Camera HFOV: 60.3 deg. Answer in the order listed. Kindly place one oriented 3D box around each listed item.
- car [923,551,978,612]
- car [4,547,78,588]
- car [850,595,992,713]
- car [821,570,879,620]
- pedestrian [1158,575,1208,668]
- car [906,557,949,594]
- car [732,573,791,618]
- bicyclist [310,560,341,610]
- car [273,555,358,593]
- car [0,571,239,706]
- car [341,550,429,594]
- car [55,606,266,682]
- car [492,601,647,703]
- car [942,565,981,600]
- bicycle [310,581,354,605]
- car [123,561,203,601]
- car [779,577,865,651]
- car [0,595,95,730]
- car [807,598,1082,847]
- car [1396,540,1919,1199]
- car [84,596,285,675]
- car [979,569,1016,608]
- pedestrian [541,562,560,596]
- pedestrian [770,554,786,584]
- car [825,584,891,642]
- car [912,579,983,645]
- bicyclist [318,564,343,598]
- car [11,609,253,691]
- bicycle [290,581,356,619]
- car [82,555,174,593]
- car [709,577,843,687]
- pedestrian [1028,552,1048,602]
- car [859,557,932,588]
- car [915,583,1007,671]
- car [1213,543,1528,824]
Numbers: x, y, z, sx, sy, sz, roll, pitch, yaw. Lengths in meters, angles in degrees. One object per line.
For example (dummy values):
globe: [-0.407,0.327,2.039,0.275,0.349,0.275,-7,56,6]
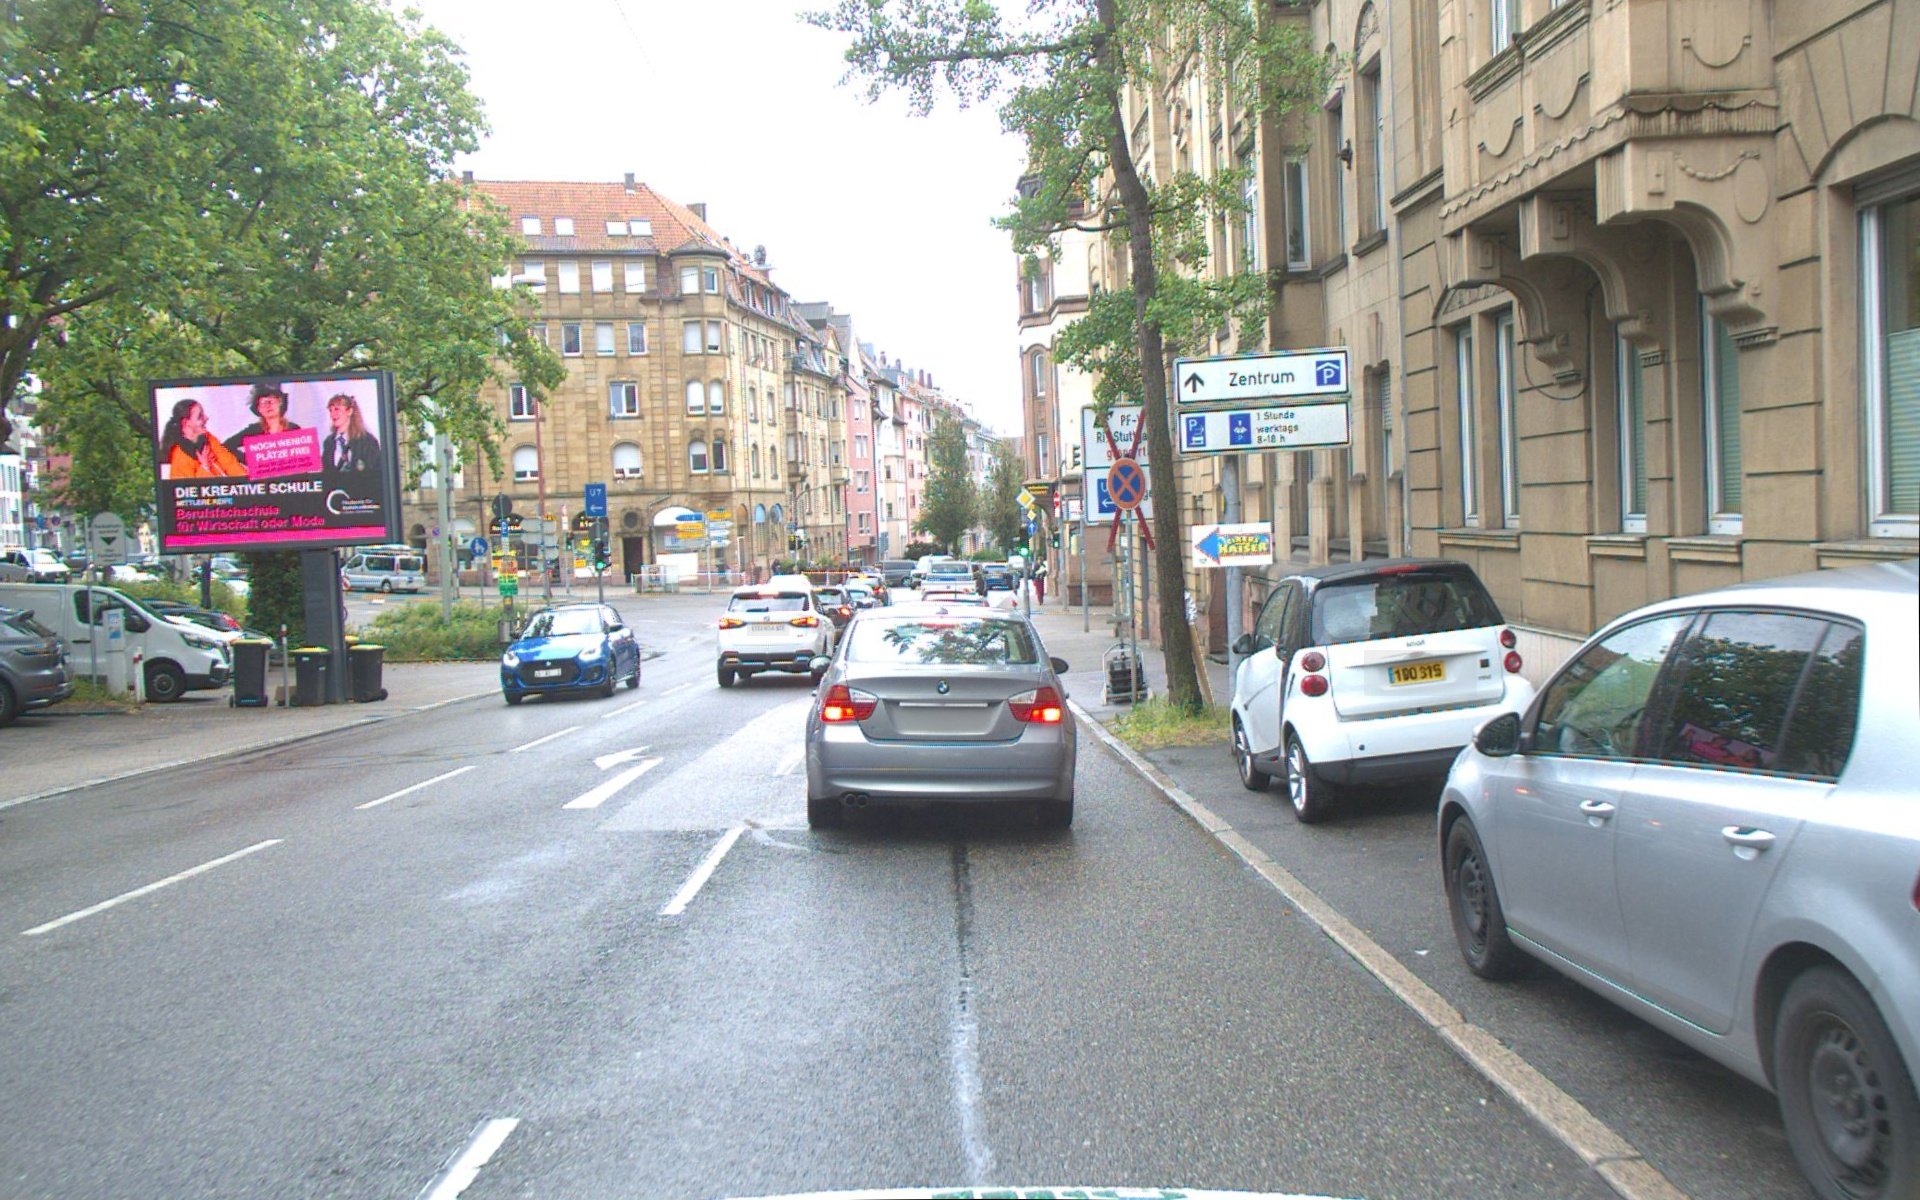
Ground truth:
car: [-0.345,-0.651,60.331,1.953,2.143,3.999,0,0,-1]
car: [-46.863,-1.654,84.368,3.914,2.049,1.573,0,1,31]
car: [-0.447,0.647,22.049,1.723,1.407,4.000,0,1,1]
car: [-3.905,-0.187,59.222,1.723,1.737,4.000,0,1,1]
pedestrian: [3.850,0.370,28.597,0.618,1.534,0.693,-5,0,-1]
car: [-1.778,-1.345,91.927,1.724,1.959,4.327,-1,1,7]
car: [-7.582,-0.182,63.427,1.703,1.553,4.471,-4,0,-1]
bicyclist: [-24.248,-0.573,63.244,0.770,1.852,0.767,-2,0,38]
car: [-34.061,-1.393,87.392,4.197,1.870,1.998,2,2,28]
car: [-14.983,0.627,27.950,4.988,2.142,1.979,-1,0,-22]
car: [-29.570,-1.484,85.015,4.197,2.138,1.997,2,2,28]
car: [-17.124,0.914,35.639,3.915,1.476,1.758,-1,0,-22]
car: [-6.302,0.797,27.078,1.680,1.476,3.741,-1,0,-1]
car: [0.095,-0.813,79.104,1.689,1.579,4.001,1,0,1]
bicycle: [-24.167,-0.268,63.666,0.565,0.873,1.513,1,-1,42]
car: [-44.753,-1.089,92.857,4.197,2.138,1.997,2,2,28]
car: [-3.361,0.308,40.929,1.723,1.737,4.000,0,1,1]
car: [-14.520,0.881,22.856,4.294,1.815,1.927,-1,0,-22]
car: [-0.067,0.711,11.408,1.590,1.407,3.615,0,1,1]
car: [2.791,0.610,4.997,1.724,1.476,3.999,-6,0,-1]
car: [-17.731,0.787,38.019,4.068,1.682,1.756,-1,0,-24]
car: [2.077,-0.594,89.913,1.689,2.049,4.002,1,0,5]
pedestrian: [-19.525,-0.991,78.846,0.525,1.605,0.719,-1,0,23]
pedestrian: [-9.867,-1.661,89.469,0.716,1.605,0.528,-1,0,8]
car: [-3.132,0.369,51.424,1.723,1.737,4.000,0,1,1]
car: [-0.346,0.262,42.359,1.724,1.594,3.999,0,1,-1]
bicyclist: [-24.202,-0.730,63.621,0.560,1.295,0.685,1,-1,42]
car: [-16.423,0.959,33.040,4.112,1.481,1.783,-1,0,-22]
bicycle: [-24.327,-0.016,63.193,0.661,1.343,2.265,-2,1,39]
car: [-40.640,-1.257,80.812,4.155,1.756,1.997,0,3,29]
car: [-3.051,0.481,28.209,1.830,1.653,4.000,-2,1,-1]
pedestrian: [3.077,-0.907,65.132,0.727,1.943,0.659,-1,0,-1]
car: [-4.579,-1.945,118.549,5.071,2.049,2.698,1,0,-1]
car: [0.051,0.440,30.348,1.562,1.490,4.001,1,1,1]
car: [2.699,0.488,11.447,1.273,1.569,2.976,-6,0,-1]
